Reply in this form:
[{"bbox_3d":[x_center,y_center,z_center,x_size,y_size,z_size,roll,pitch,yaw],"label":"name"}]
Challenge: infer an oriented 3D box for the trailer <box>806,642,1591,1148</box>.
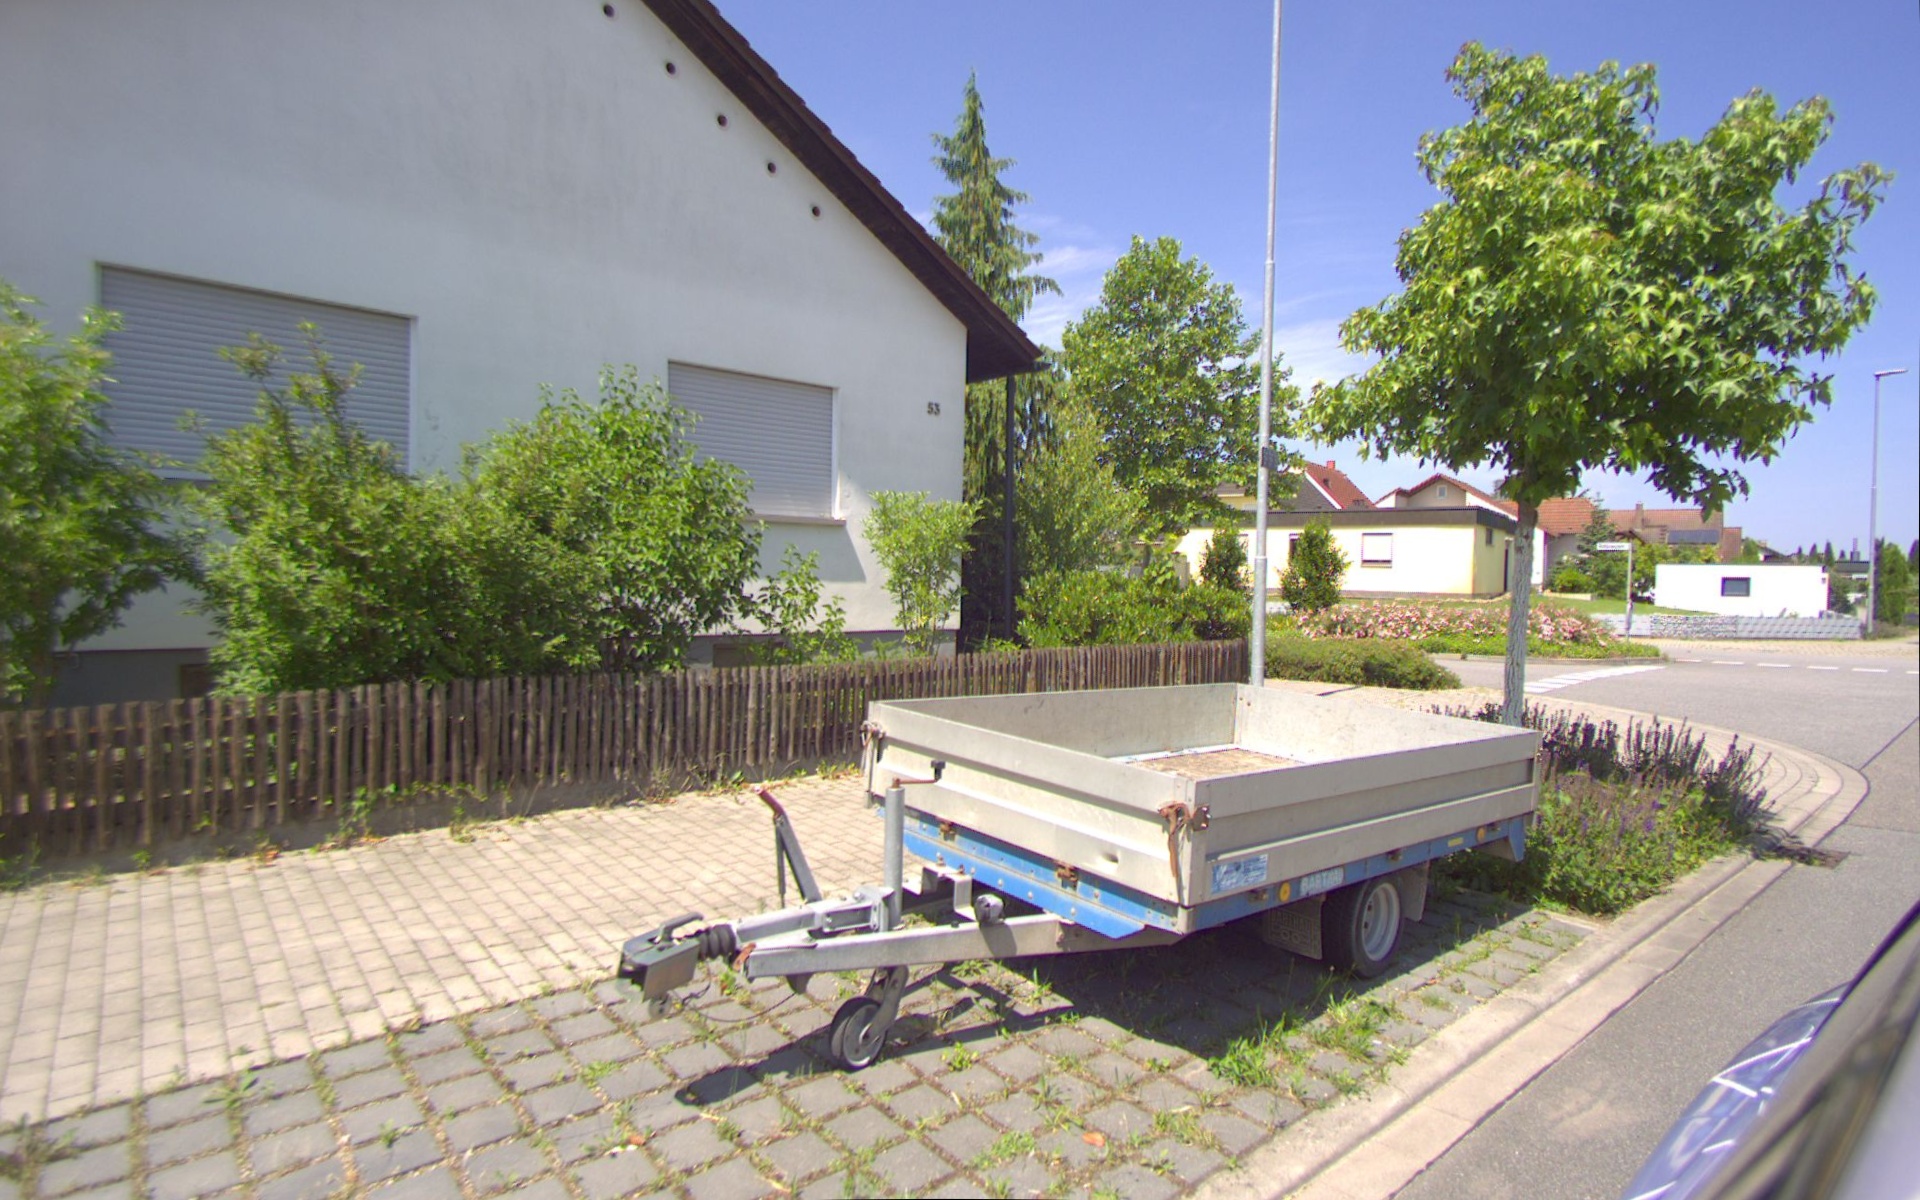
[{"bbox_3d":[1.065,0.811,4.157,2.847,1.071,1.792,0,2,-40],"label":"trailer"}]
